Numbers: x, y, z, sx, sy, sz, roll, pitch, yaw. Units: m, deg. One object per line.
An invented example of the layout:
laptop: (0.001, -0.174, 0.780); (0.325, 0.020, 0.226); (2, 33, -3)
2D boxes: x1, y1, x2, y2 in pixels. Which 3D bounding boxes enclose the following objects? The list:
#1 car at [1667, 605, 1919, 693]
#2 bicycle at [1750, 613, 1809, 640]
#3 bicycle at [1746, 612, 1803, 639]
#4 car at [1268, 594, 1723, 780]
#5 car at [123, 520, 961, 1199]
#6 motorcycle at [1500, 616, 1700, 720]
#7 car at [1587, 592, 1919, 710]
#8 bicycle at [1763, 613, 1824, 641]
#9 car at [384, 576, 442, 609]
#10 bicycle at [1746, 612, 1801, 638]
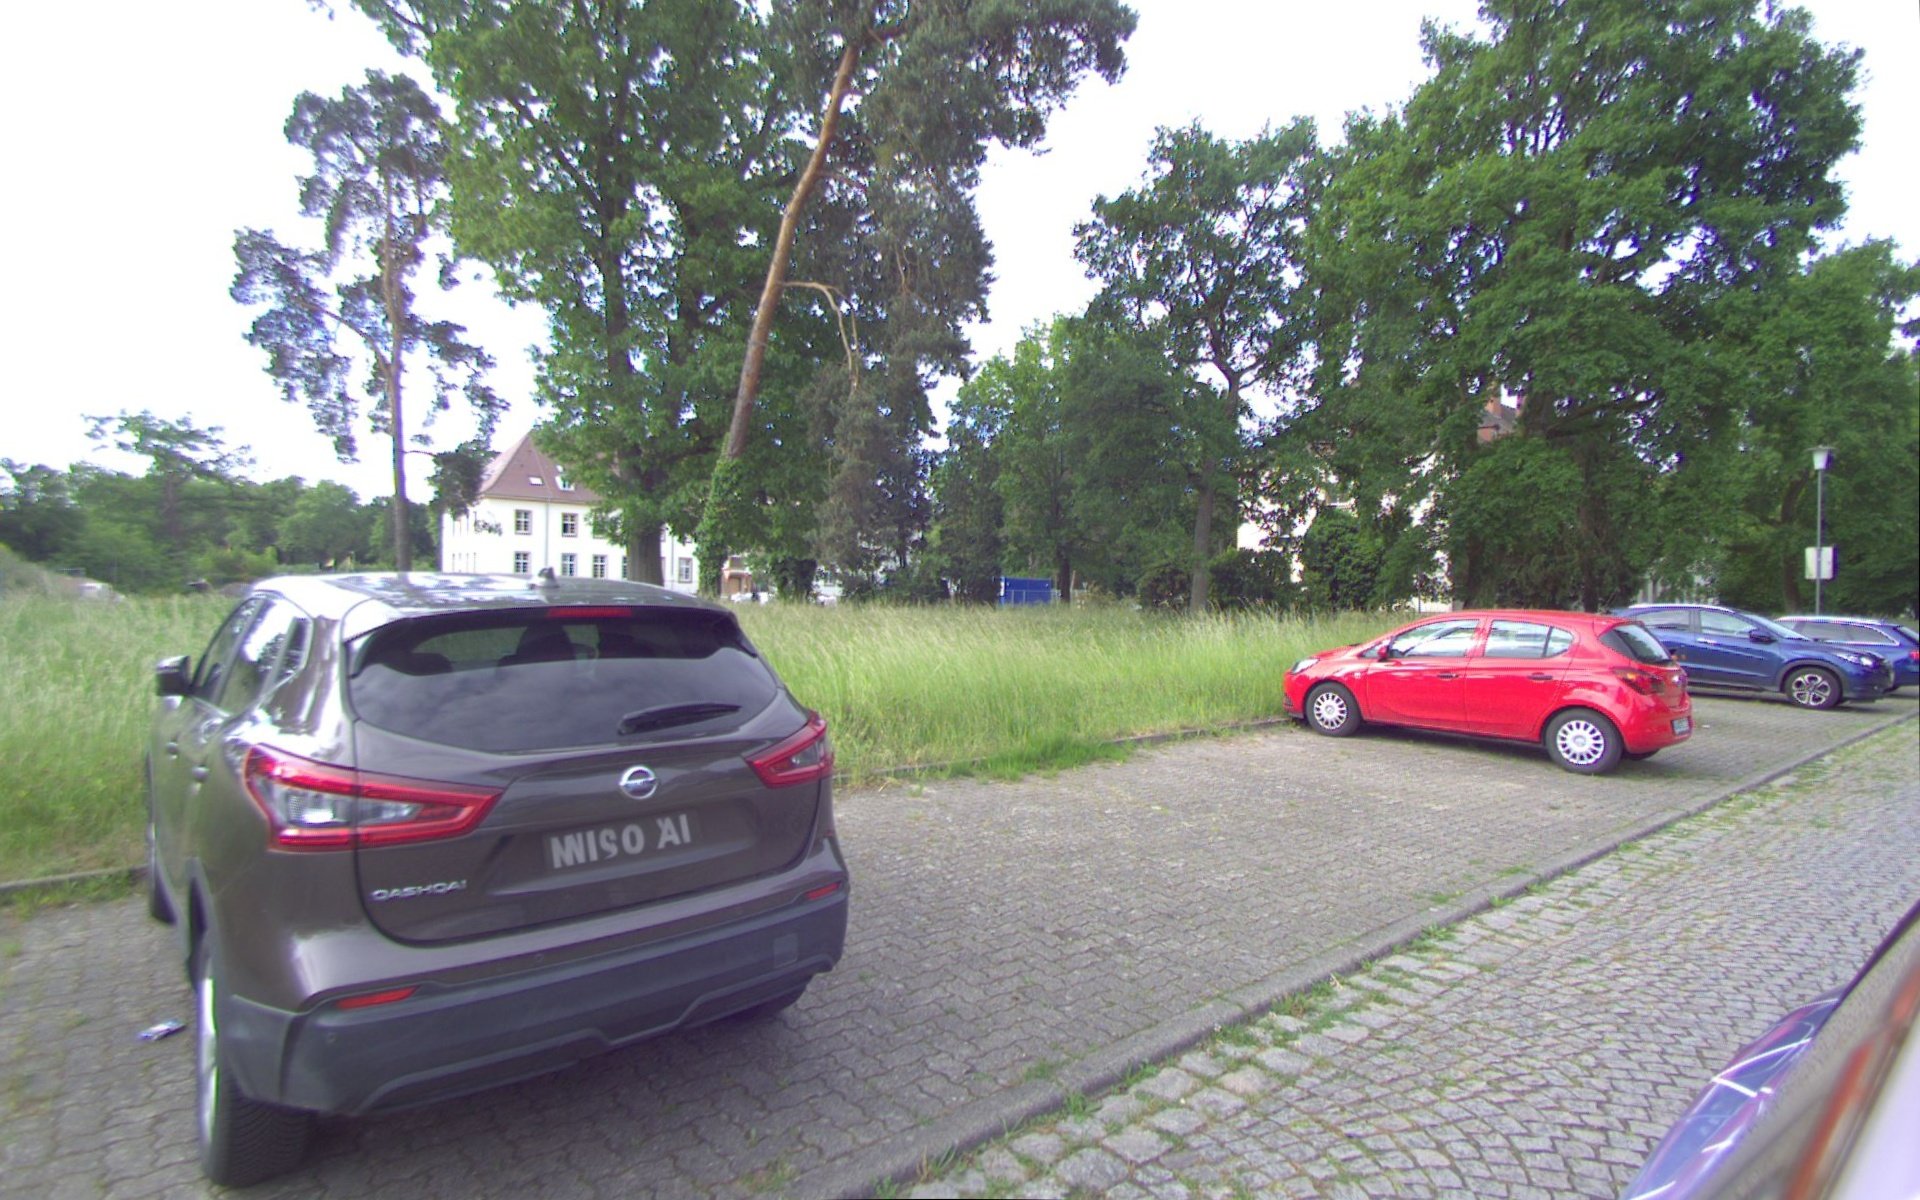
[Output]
car: (16.981, 0.914, 20.164); (1.891, 1.457, 4.369); (1, 1, -38)
bicycle: (35.550, 1.149, 43.922); (1.919, 1.185, 0.484); (-1, -1, 26)
bicycle: (36.842, 1.160, 45.826); (1.922, 1.185, 0.483); (-1, -1, 29)
car: (5.528, 0.751, 10.831); (1.754, 1.515, 3.930); (1, 1, -41)
car: (-2.119, 0.592, 4.197); (1.919, 1.615, 4.210); (1, 1, -42)
motorcycle: (8.724, 0.879, 13.891); (0.558, 1.217, 2.234); (1, 1, -41)
car: (13.376, 0.751, 17.221); (1.854, 1.643, 4.252); (1, 1, -41)
bicycle: (35.265, 1.141, 42.849); (1.917, 1.185, 0.484); (-1, -1, 23)
car: (-46.014, -0.585, 85.132); (5.650, 2.675, 2.246); (-1, -1, 38)
bicycle: (37.987, 1.168, 47.296); (1.926, 1.185, 0.531); (-1, -1, 35)
